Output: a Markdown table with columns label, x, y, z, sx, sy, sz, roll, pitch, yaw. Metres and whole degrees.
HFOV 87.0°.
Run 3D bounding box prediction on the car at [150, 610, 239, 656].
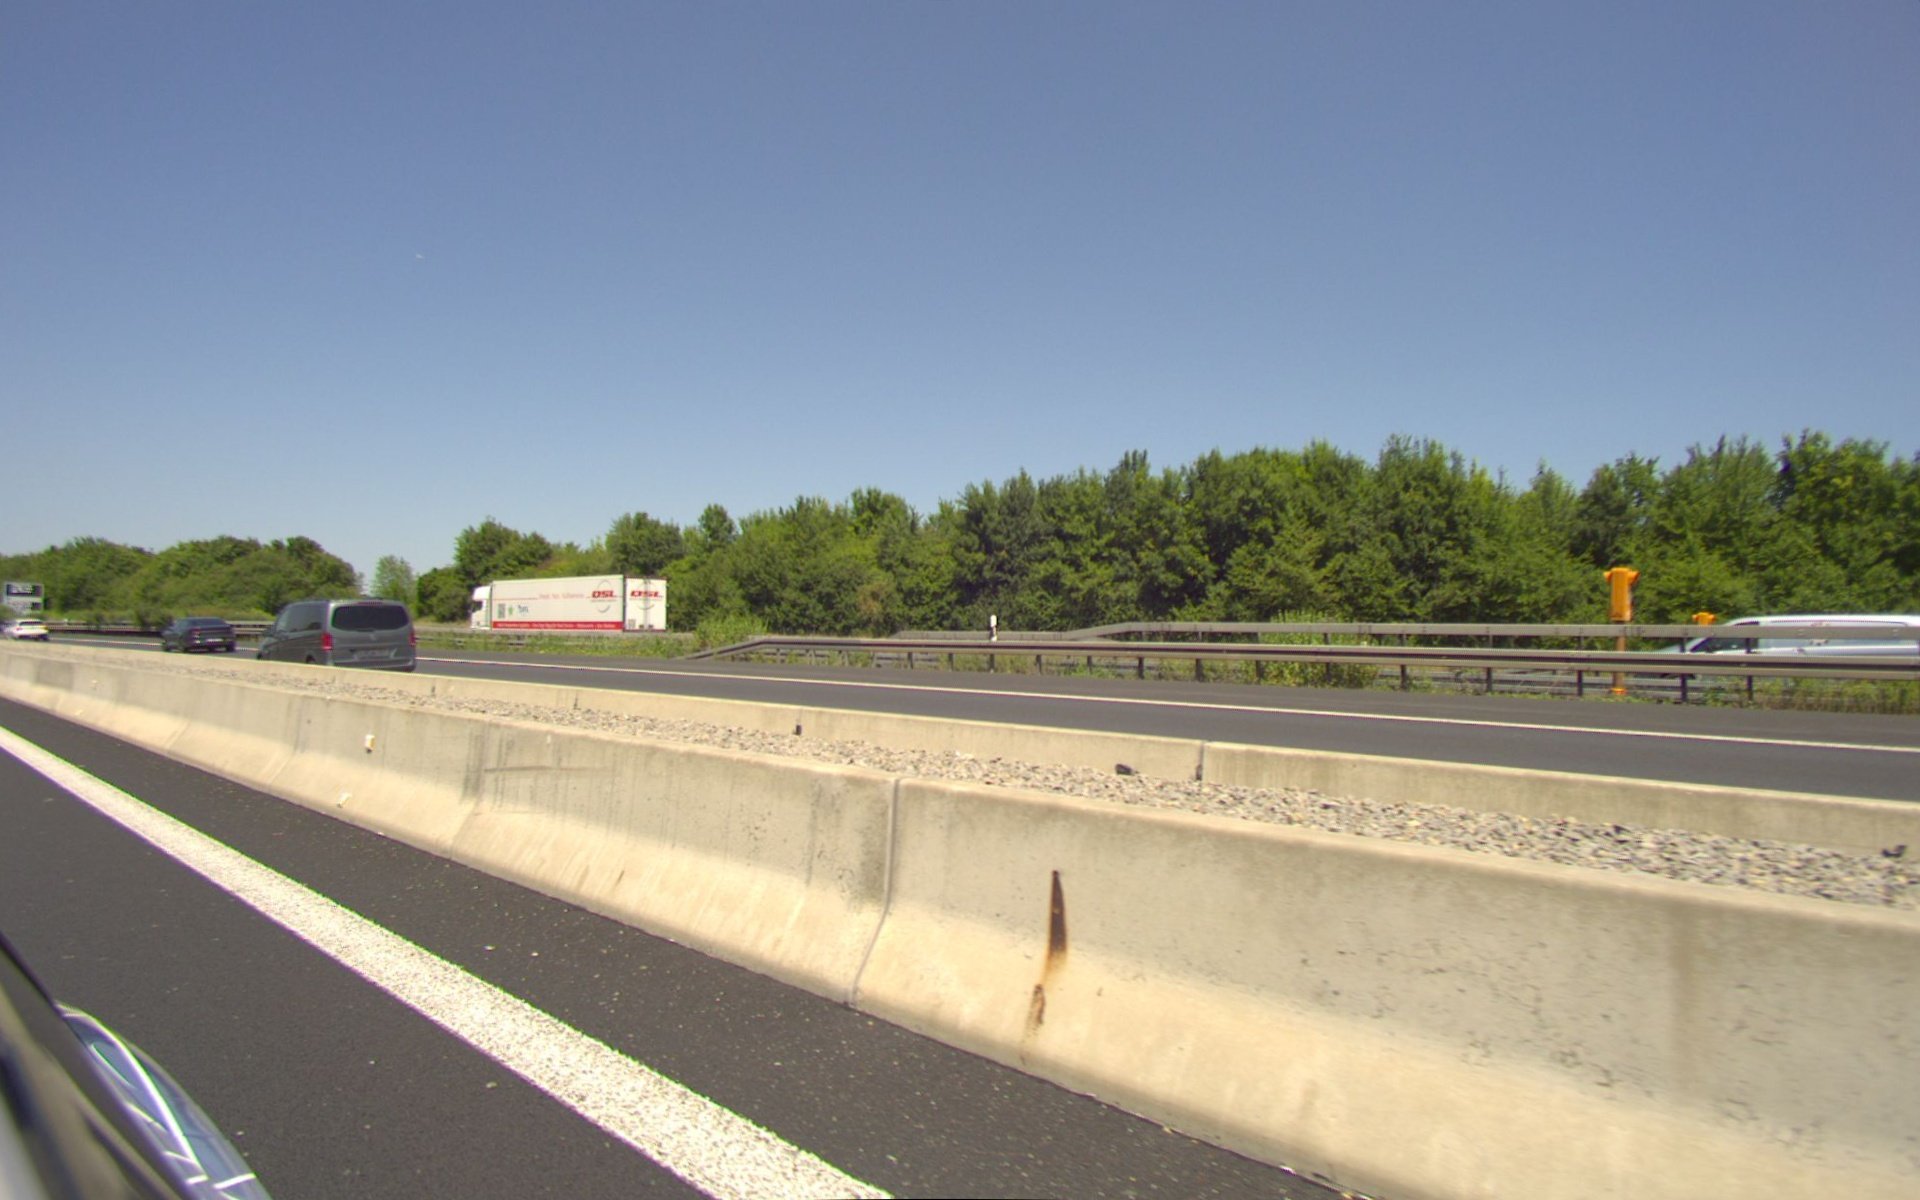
| label | x | y | z | sx | sy | sz | roll | pitch | yaw |
| --- | --- | --- | --- | --- | --- | --- | --- | --- | --- |
| car | -32.323 | 1.357 | 42.681 | 4.901 | 1.838 | 1.973 | -1 | -1 | 40 |

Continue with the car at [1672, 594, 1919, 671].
| label | x | y | z | sx | sy | sz | roll | pitch | yaw |
| --- | --- | --- | --- | --- | --- | --- | --- | --- | --- |
| car | 17.779 | 0.630 | 20.908 | 4.866 | 1.470 | 1.973 | -1 | -1 | 41 |

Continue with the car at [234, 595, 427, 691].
| label | x | y | z | sx | sy | sz | roll | pitch | yaw |
| --- | --- | --- | --- | --- | --- | --- | --- | --- | --- |
| car | -14.017 | 0.872 | 22.401 | 5.369 | 1.872 | 2.015 | -1 | -1 | 39 |

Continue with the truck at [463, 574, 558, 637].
| label | x | y | z | sx | sy | sz | roll | pitch | yaw |
| --- | --- | --- | --- | --- | --- | --- | --- | --- | --- |
| truck | -26.367 | 0.328 | 59.351 | 5.405 | 3.530 | 3.052 | -1 | -1 | 40 |

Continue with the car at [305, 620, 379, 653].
| label | x | y | z | sx | sy | sz | roll | pitch | yaw |
| --- | --- | --- | --- | --- | --- | --- | --- | --- | --- |
| car | -38.588 | 2.253 | 63.160 | 5.308 | 2.029 | 1.976 | -1 | -2 | 35 |

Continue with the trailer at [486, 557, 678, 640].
| label | x | y | z | sx | sy | sz | roll | pitch | yaw |
| --- | --- | --- | --- | --- | --- | --- | --- | --- | --- |
| trailer | -20.752 | 0.012 | 54.765 | 14.070 | 4.027 | 3.077 | -1 | -1 | 39 |

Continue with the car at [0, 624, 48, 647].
| label | x | y | z | sx | sy | sz | roll | pitch | yaw |
| --- | --- | --- | --- | --- | --- | --- | --- | --- | --- |
| car | -59.864 | 2.259 | 64.657 | 3.996 | 1.405 | 1.832 | -1 | 0 | 40 |
